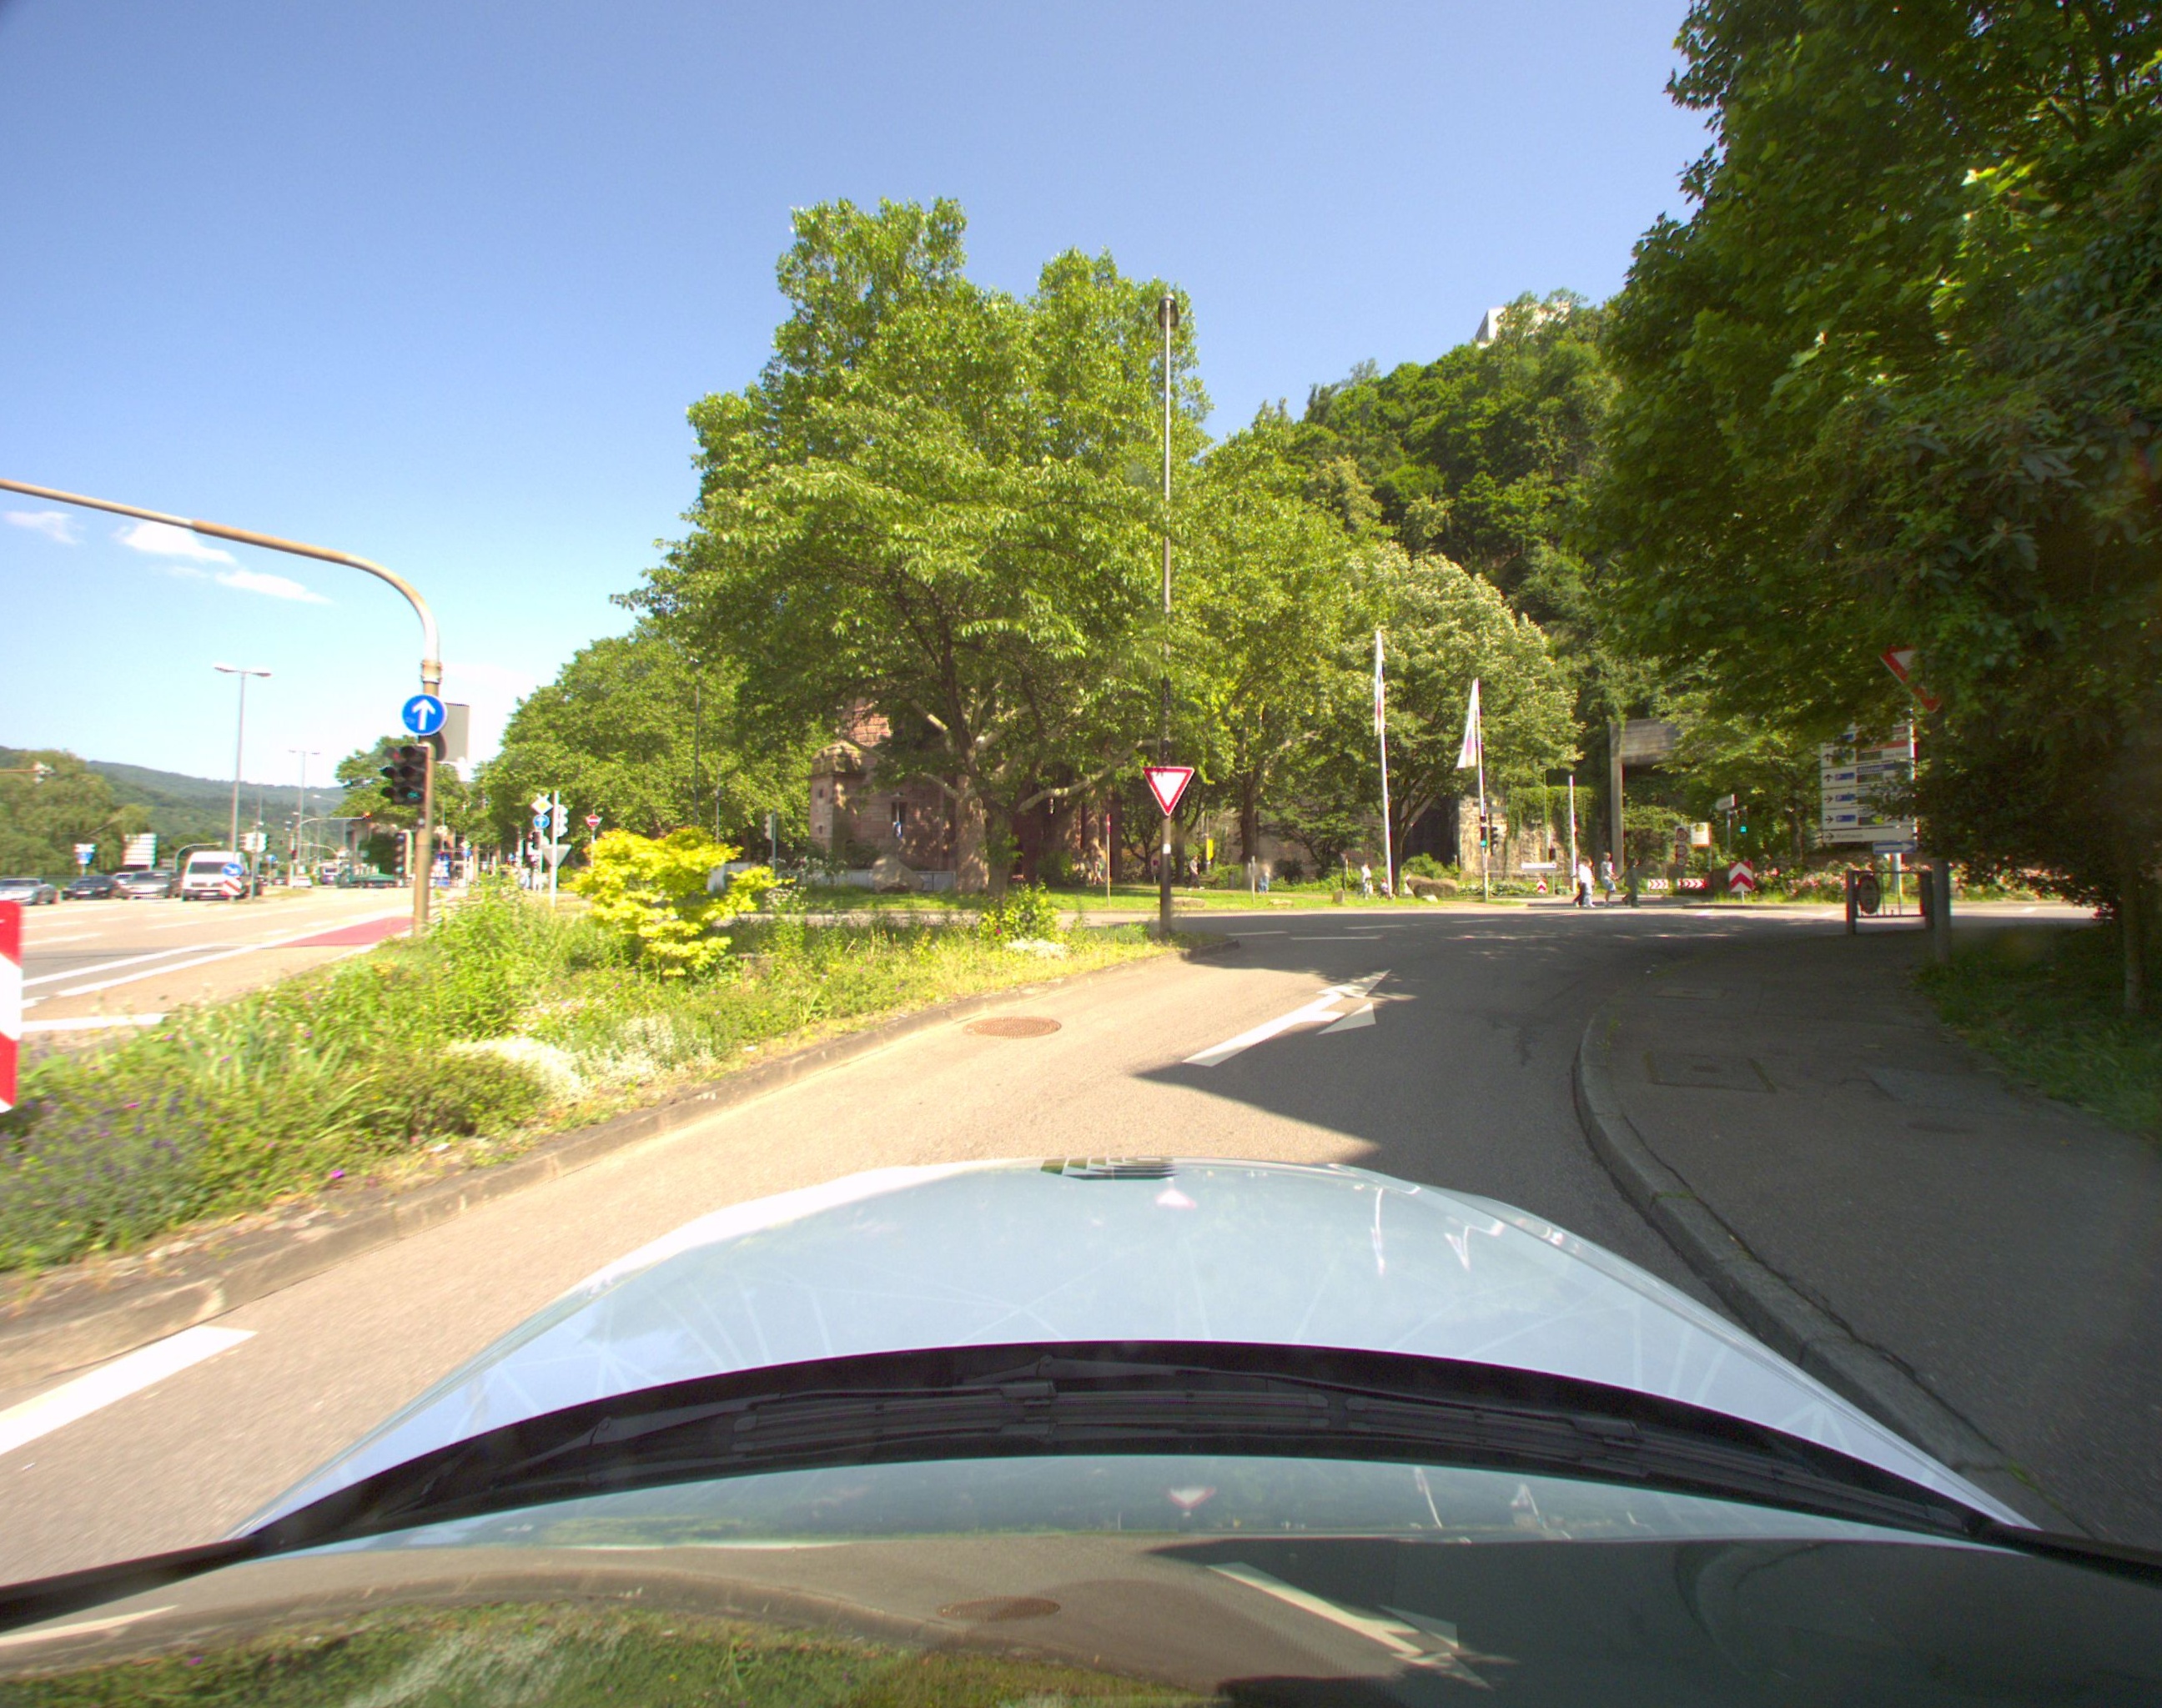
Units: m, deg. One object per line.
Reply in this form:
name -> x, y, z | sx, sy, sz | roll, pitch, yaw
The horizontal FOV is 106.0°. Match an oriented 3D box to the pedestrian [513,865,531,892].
pedestrian -> -35.114, 1.527, 51.176 | 0.764, 1.708, 0.871 | 0, 0, -22

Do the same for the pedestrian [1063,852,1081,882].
pedestrian -> -0.536, 0.779, 49.199 | 0.798, 1.756, 0.658 | 3, -2, -35

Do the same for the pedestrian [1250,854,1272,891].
pedestrian -> 8.736, 0.906, 39.594 | 0.798, 1.756, 0.658 | 3, -2, -35

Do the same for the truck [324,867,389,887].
truck -> -74.725, 2.326, 84.013 | 6.201, 2.014, 2.174 | 0, 0, 18

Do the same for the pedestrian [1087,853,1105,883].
pedestrian -> 0.892, 0.819, 48.337 | 0.798, 1.756, 0.658 | 3, -2, -35

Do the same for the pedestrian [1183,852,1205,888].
pedestrian -> 5.625, 0.806, 40.515 | 0.798, 1.756, 0.715 | 3, -2, -35

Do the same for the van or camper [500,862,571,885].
van or camper -> -46.755, 1.635, 69.885 | 4.544, 1.902, 1.992 | -1, 0, -11

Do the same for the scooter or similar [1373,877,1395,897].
scooter or similar -> 12.535, 1.349, 33.700 | 0.724, 0.812, 0.573 | -1, -1, 32

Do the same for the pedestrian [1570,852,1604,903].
pedestrian -> 17.920, 0.837, 28.835 | 0.768, 1.756, 0.754 | 3, -2, -35

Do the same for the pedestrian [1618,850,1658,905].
pedestrian -> 18.458, 0.777, 26.993 | 0.805, 1.756, 0.858 | 3, -2, -35

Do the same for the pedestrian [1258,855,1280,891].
pedestrian -> 9.294, 0.930, 40.278 | 0.798, 1.756, 0.658 | 3, -2, -35

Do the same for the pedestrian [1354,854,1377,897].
pedestrian -> 11.925, 0.883, 34.119 | 0.752, 1.756, 0.769 | -1, -1, 32

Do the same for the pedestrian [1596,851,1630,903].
pedestrian -> 18.200, 0.782, 27.855 | 0.768, 1.756, 0.754 | 3, -2, -35

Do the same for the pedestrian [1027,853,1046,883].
pedestrian -> -2.631, 0.815, 48.450 | 0.798, 1.782, 0.866 | 0, 0, -34

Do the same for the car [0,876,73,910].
car -> -50.473, 1.843, 38.838 | 2.225, 1.458, 4.694 | 0, 0, -41

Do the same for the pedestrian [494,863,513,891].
pedestrian -> -35.840, 1.398, 50.558 | 0.764, 1.719, 0.789 | 0, 0, -22

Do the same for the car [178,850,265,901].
car -> -46.347, 1.119, 44.084 | 2.403, 2.576, 5.986 | 0, 0, -38

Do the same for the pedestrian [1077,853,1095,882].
pedestrian -> 0.295, 0.825, 49.604 | 0.798, 1.756, 0.658 | 3, -2, -35

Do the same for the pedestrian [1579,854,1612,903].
pedestrian -> 18.530, 0.882, 29.350 | 0.768, 1.756, 0.754 | 3, -2, -35

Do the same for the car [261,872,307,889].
car -> -98.815, 3.230, 101.011 | 3.966, 2.013, 1.946 | 0, 0, 6

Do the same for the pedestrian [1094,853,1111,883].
pedestrian -> 1.312, 0.858, 49.401 | 0.798, 1.756, 0.658 | 3, -2, -35

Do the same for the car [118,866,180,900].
car -> -53.153, 1.611, 46.517 | 2.011, 1.833, 3.951 | 0, 0, -44

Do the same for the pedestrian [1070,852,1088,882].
pedestrian -> -0.124, 0.761, 48.314 | 0.798, 1.756, 0.658 | 3, -2, -35

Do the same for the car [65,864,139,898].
car -> -57.103, 1.514, 47.597 | 2.226, 1.780, 4.692 | 0, 0, -44
